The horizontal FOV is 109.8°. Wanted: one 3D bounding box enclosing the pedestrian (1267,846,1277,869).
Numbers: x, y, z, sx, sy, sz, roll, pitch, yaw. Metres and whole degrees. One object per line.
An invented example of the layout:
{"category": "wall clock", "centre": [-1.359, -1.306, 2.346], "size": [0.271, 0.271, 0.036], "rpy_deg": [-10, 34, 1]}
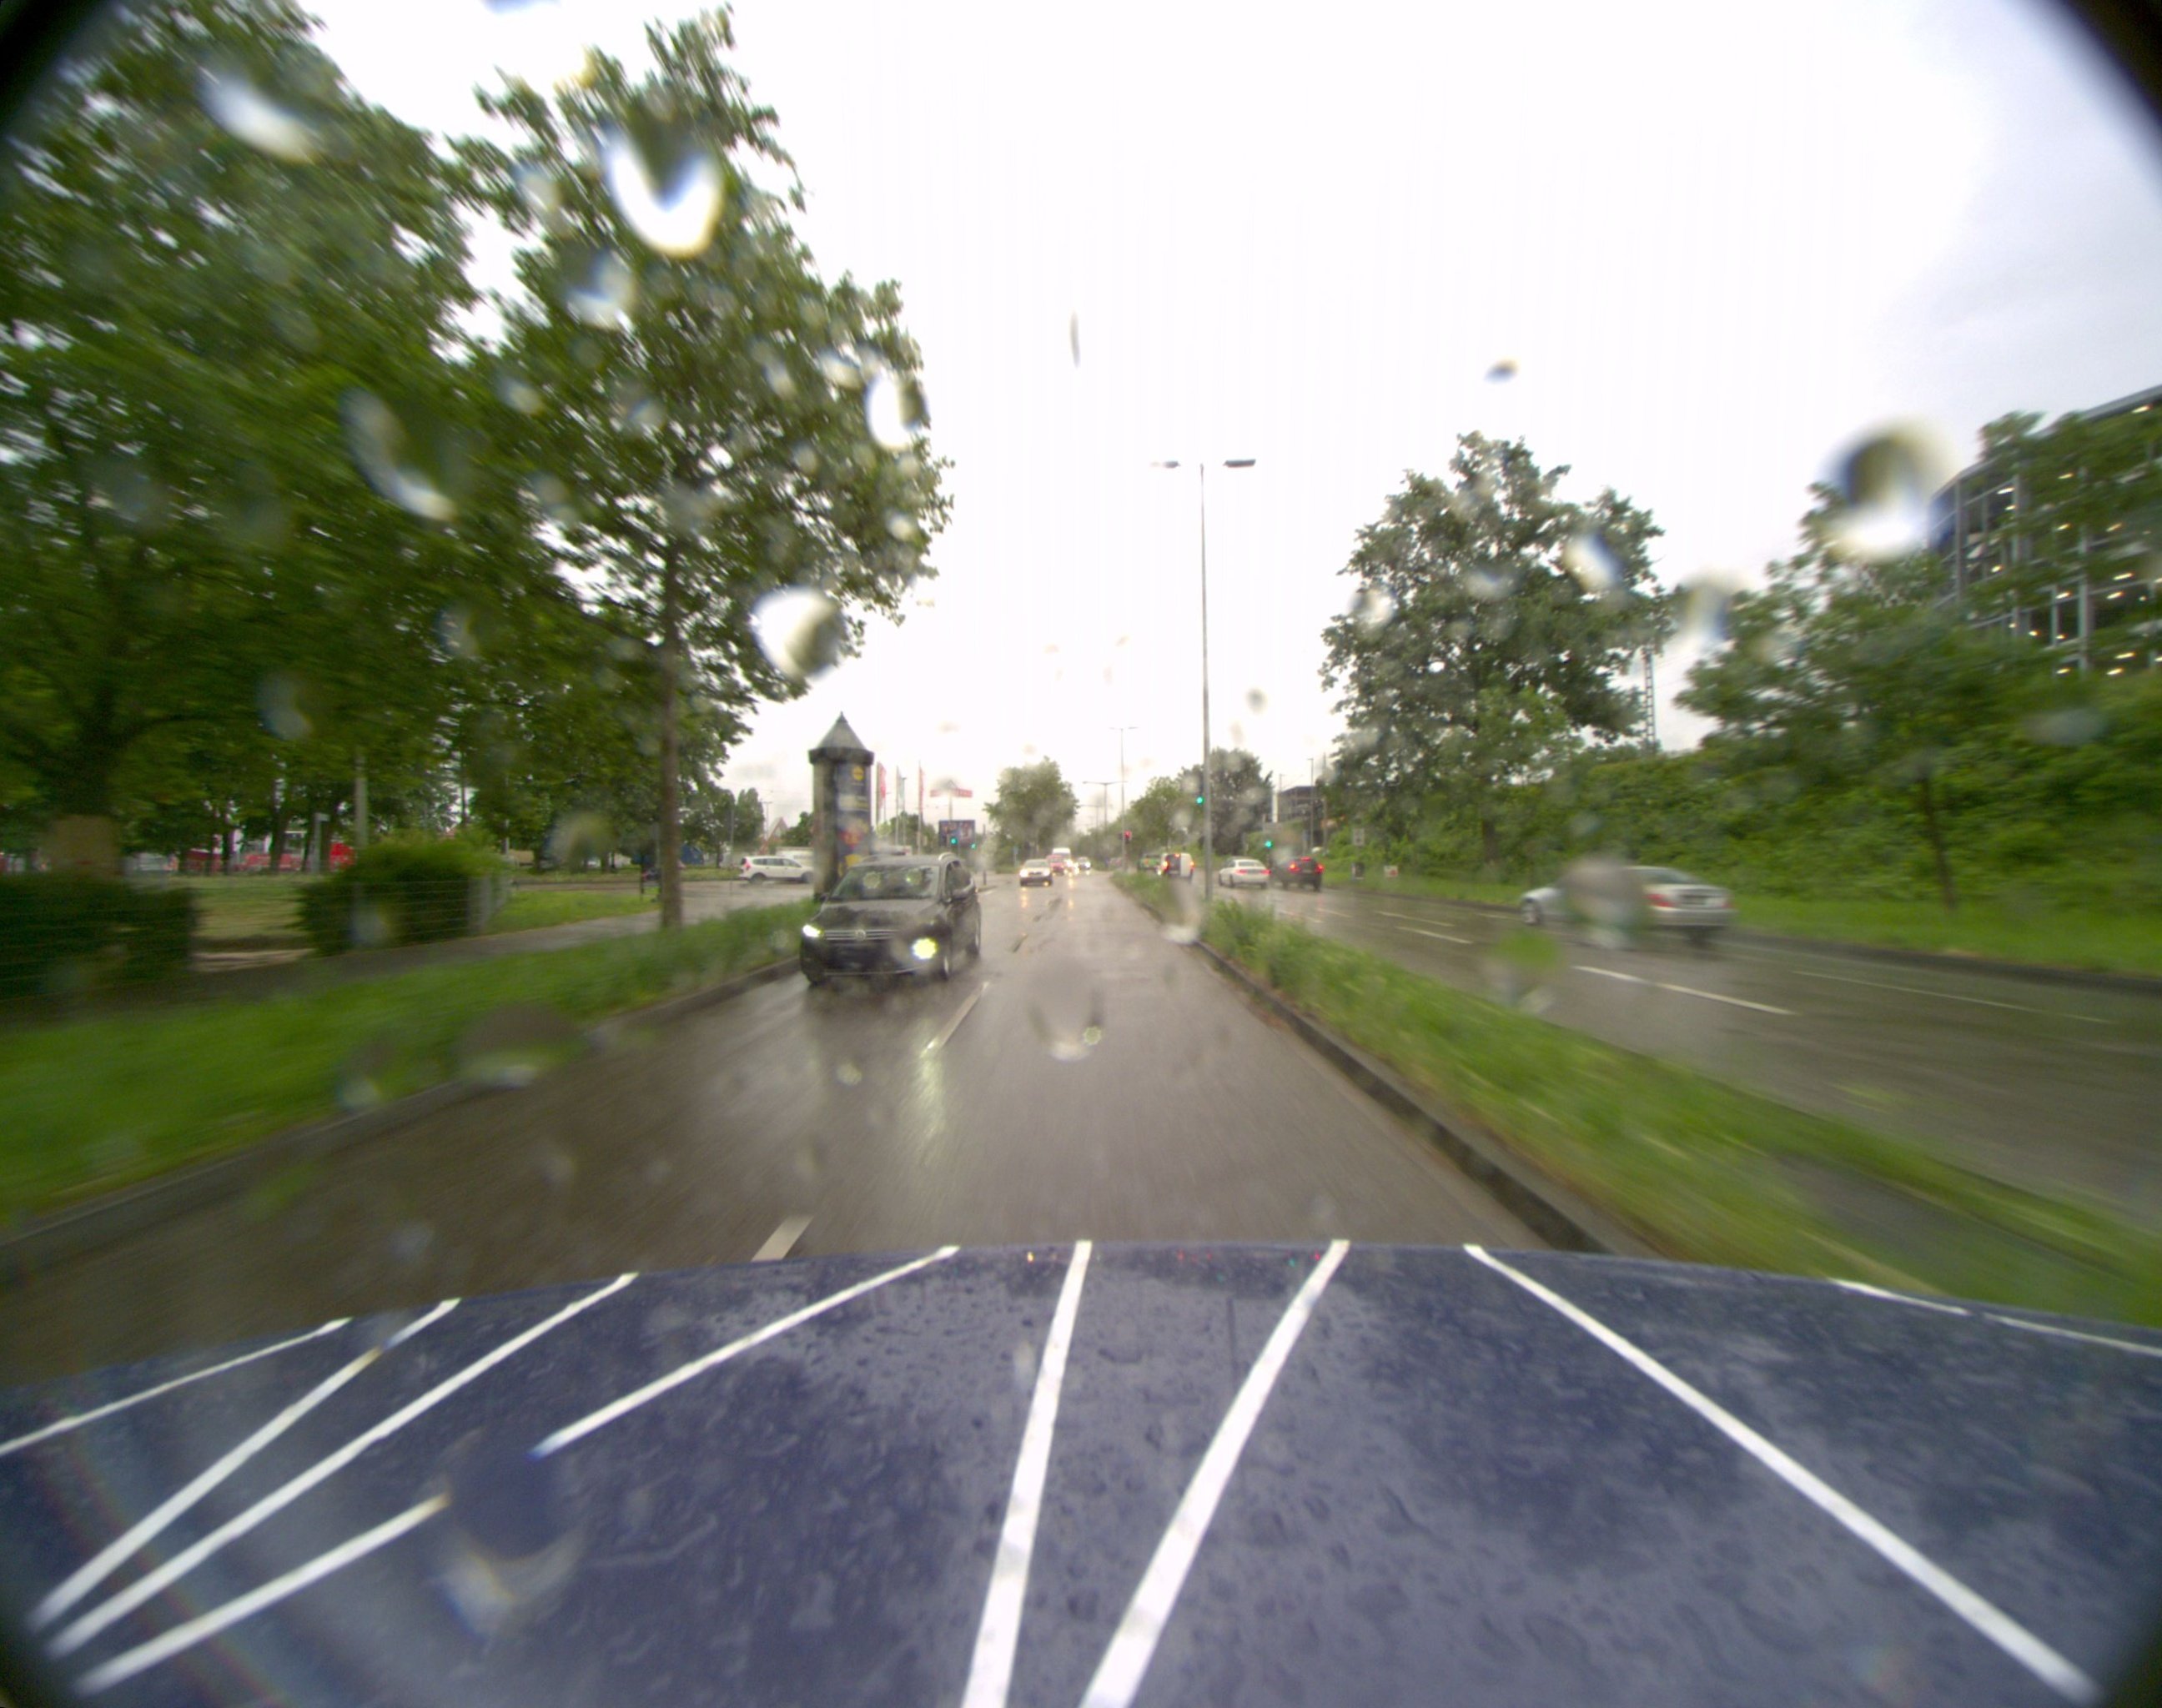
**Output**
{"category": "pedestrian", "centre": [14.433, 0.249, 57.429], "size": [0.485, 1.777, 0.626], "rpy_deg": [0, 1, -8]}

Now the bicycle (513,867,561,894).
{"category": "bicycle", "centre": [-22.313, 1.071, 31.158], "size": [1.621, 1.032, 0.814], "rpy_deg": [0, 1, 21]}

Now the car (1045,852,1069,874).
{"category": "car", "centre": [-1.952, 0.697, 62.363], "size": [1.699, 1.759, 4.558], "rpy_deg": [-1, 0, 1]}

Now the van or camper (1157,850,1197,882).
{"category": "van or camper", "centre": [5.503, 0.674, 43.917], "size": [1.733, 1.732, 3.999], "rpy_deg": [2, 0, -1]}

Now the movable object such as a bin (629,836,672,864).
{"category": "movable object such as a bin", "centre": [-52.993, -0.493, 93.608], "size": [4.261, 3.266, 2.321], "rpy_deg": [-3, 2, -37]}

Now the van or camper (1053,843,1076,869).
{"category": "van or camper", "centre": [-1.630, 0.201, 78.268], "size": [2.100, 2.579, 4.776], "rpy_deg": [-2, 0, 1]}

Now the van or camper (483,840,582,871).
{"category": "van or camper", "centre": [-62.960, 0.130, 87.462], "size": [8.995, 3.139, 2.979], "rpy_deg": [-2, 2, -35]}

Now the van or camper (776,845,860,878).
{"category": "van or camper", "centre": [-17.275, 0.494, 50.090], "size": [4.918, 2.076, 1.863], "rpy_deg": [0, 1, -38]}

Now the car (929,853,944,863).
{"category": "car", "centre": [-23.193, 0.648, 121.917], "size": [1.822, 1.610, 3.999], "rpy_deg": [0, 1, -2]}

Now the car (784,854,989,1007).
{"category": "car", "centre": [-2.530, 0.896, 10.977], "size": [1.861, 1.716, 4.190], "rpy_deg": [-2, 0, 0]}

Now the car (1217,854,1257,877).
{"category": "car", "centre": [11.212, 0.799, 54.788], "size": [1.903, 1.603, 4.405], "rpy_deg": [0, 0, -1]}

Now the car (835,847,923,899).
{"category": "car", "centre": [-8.644, 0.721, 32.216], "size": [1.936, 2.044, 4.742], "rpy_deg": [0, 0, -38]}

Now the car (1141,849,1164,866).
{"category": "car", "centre": [6.617, 0.306, 70.212], "size": [1.780, 1.552, 3.773], "rpy_deg": [-2, 0, 1]}

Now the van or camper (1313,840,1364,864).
{"category": "van or camper", "centre": [30.171, -0.270, 88.910], "size": [6.941, 2.647, 1.994], "rpy_deg": [0, 1, -35]}

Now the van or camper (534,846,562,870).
{"category": "van or camper", "centre": [-50.938, 0.369, 72.701], "size": [2.138, 2.286, 4.454], "rpy_deg": [0, 0, -35]}

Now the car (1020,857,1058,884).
{"category": "car", "centre": [-2.352, 0.885, 43.516], "size": [1.807, 1.422, 4.386], "rpy_deg": [-1, 0, 1]}

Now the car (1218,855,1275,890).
{"category": "car", "centre": [8.556, 0.911, 39.706], "size": [1.903, 1.603, 4.711], "rpy_deg": [2, 0, 0]}

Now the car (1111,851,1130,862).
{"category": "car", "centre": [5.477, 0.320, 106.493], "size": [1.977, 1.592, 4.385], "rpy_deg": [0, 0, -6]}

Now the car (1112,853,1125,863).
{"category": "car", "centre": [6.022, 0.678, 122.546], "size": [1.697, 1.592, 3.622], "rpy_deg": [0, 0, -5]}

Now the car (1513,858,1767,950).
{"category": "car", "centre": [11.194, 0.897, 15.726], "size": [1.903, 1.603, 4.477], "rpy_deg": [0, 0, -1]}

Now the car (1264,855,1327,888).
{"category": "car", "centre": [11.372, 0.891, 40.616], "size": [2.042, 1.651, 4.678], "rpy_deg": [0, 0, -1]}

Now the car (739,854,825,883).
{"category": "car", "centre": [-17.850, 0.839, 45.488], "size": [4.470, 1.663, 1.863], "rpy_deg": [0, 0, -38]}
